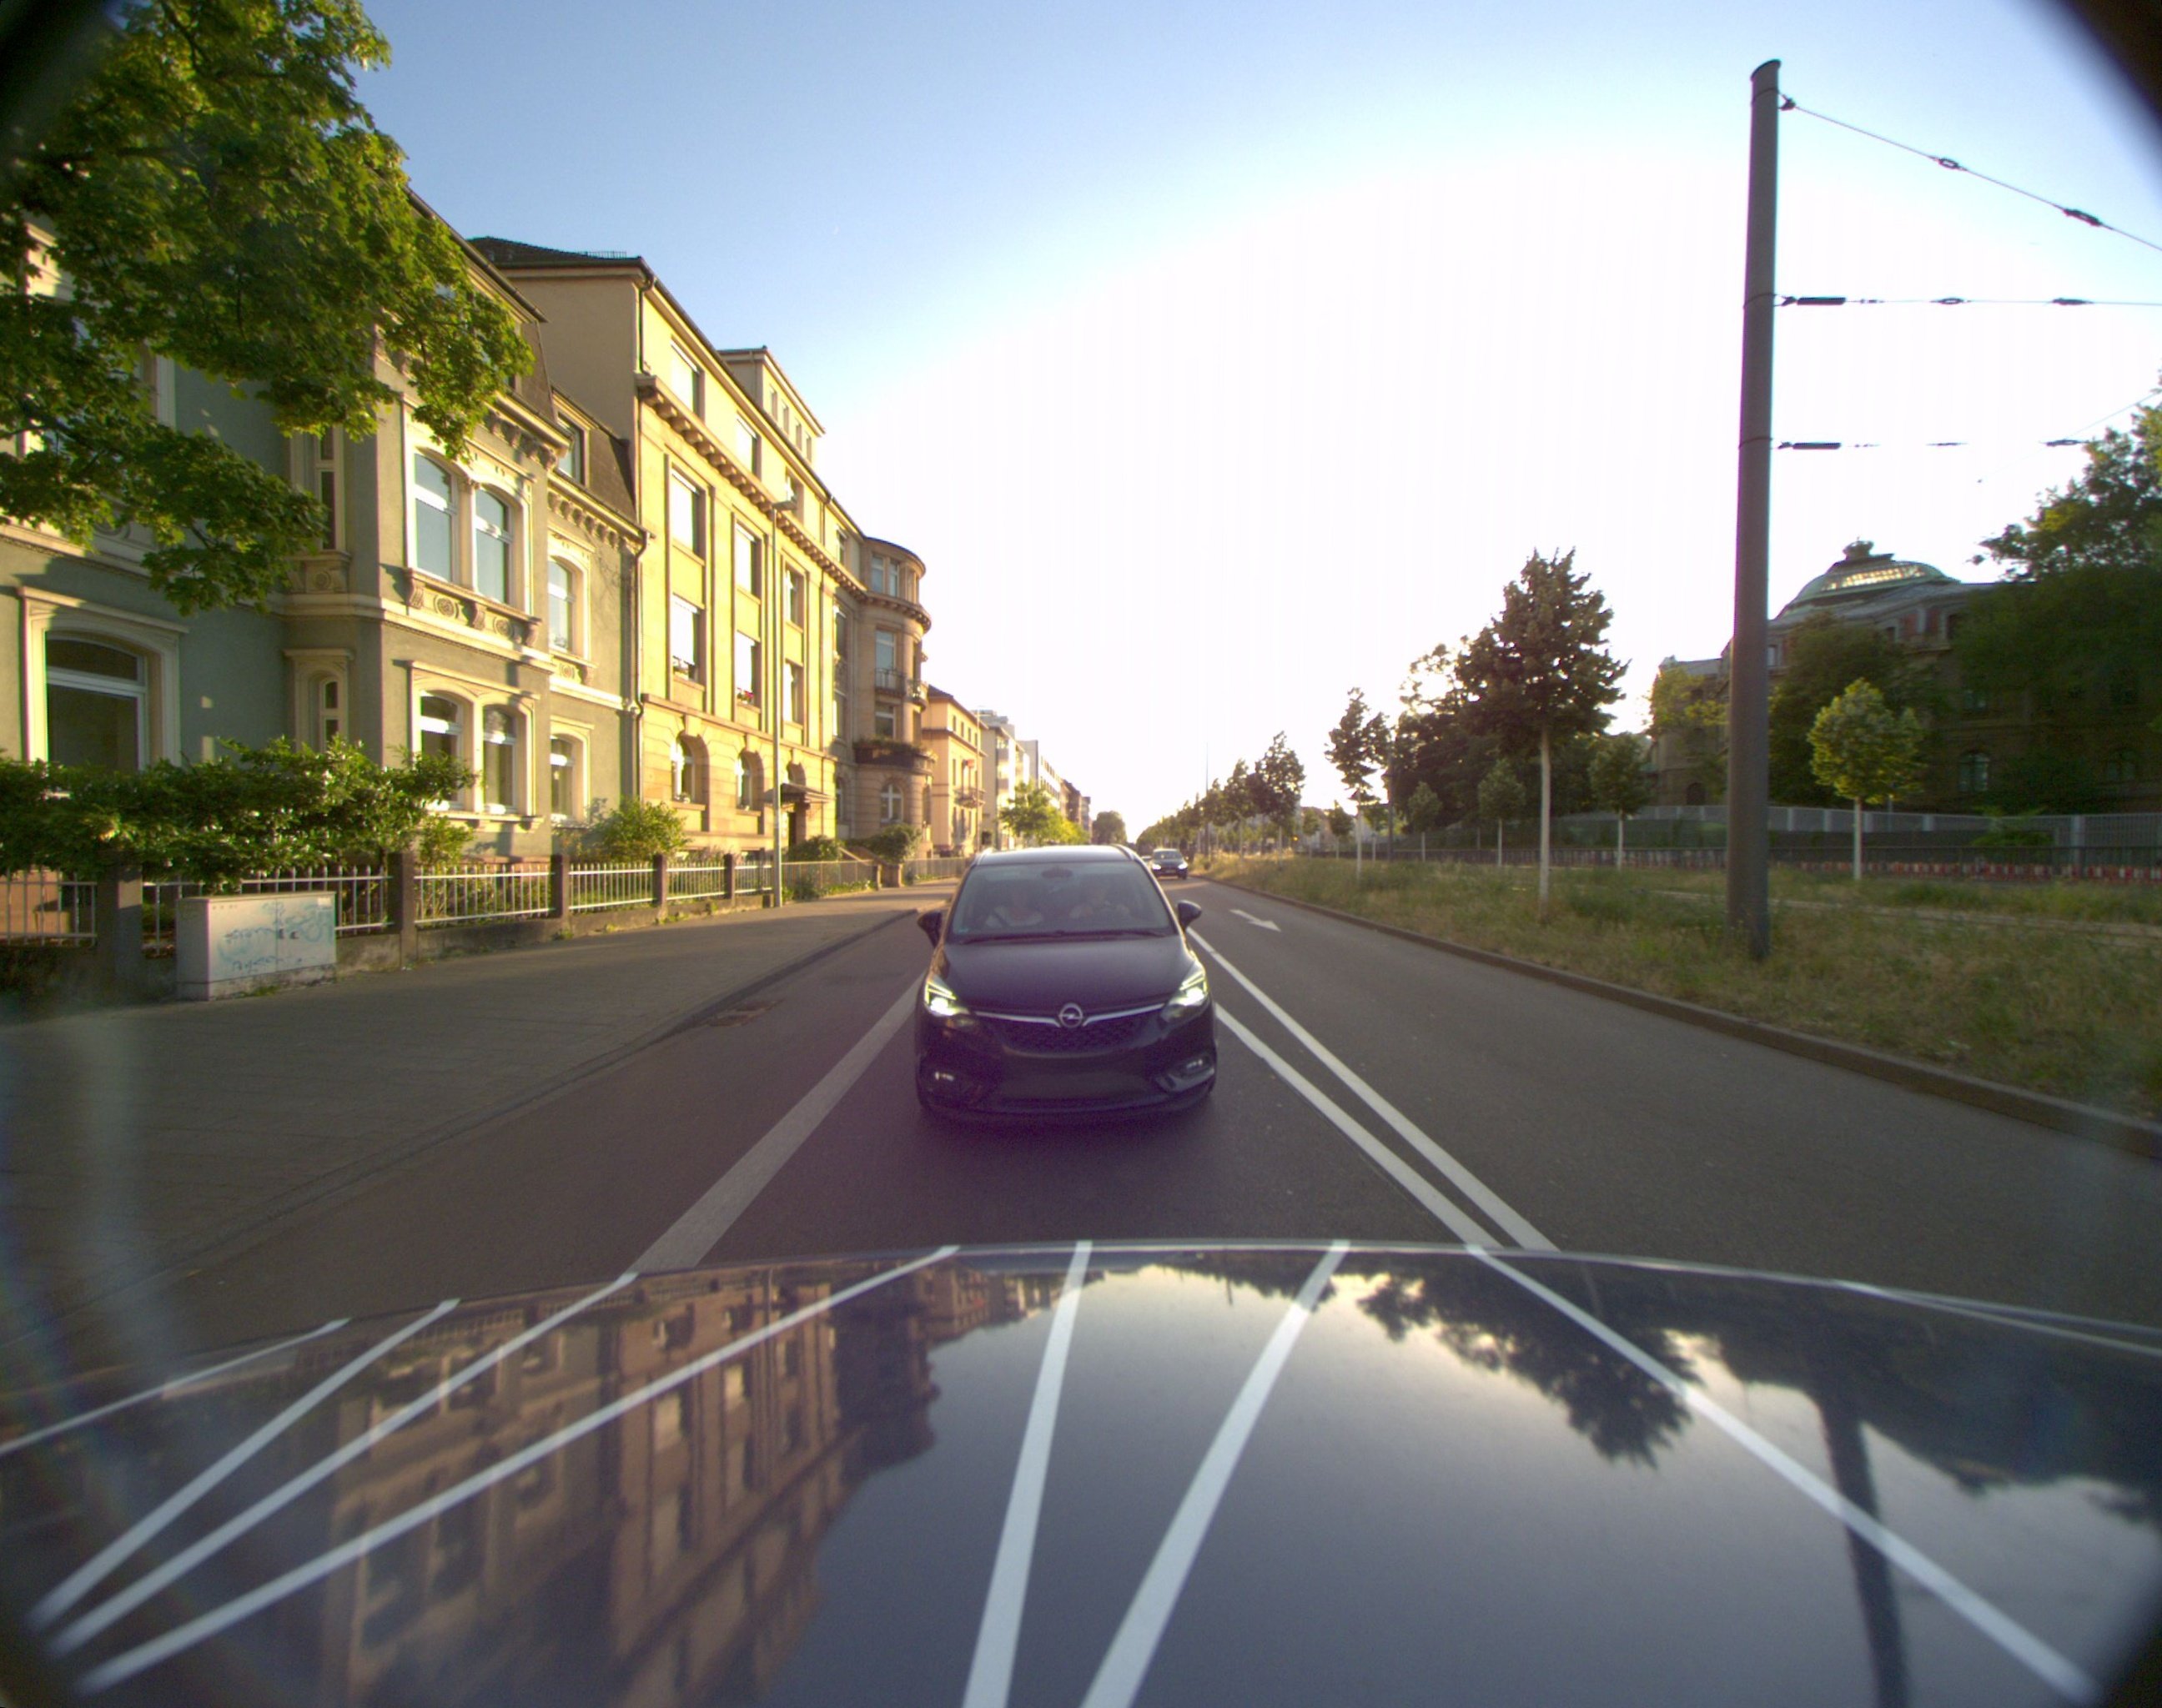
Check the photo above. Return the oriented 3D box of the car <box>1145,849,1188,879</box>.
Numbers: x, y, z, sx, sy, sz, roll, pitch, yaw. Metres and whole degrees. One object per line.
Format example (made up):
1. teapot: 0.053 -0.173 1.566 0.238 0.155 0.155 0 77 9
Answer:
1. car: 4.393 0.503 39.607 1.859 1.425 4.844 -2 -1 3

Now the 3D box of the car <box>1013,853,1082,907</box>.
1. car: -0.944 0.736 23.195 1.859 1.425 4.843 -2 -1 -1

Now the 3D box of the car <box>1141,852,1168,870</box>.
1. car: 6.220 0.571 64.729 1.859 1.425 4.843 -2 -1 2

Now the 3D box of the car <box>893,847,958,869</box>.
1. car: -11.014 0.247 53.936 4.096 1.472 1.938 -1 1 3

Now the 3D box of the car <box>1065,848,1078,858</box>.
1. car: -1.437 -0.189 121.489 1.937 1.472 4.100 -1 0 1

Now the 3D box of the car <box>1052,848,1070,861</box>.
1. car: -2.404 0.022 91.976 1.937 1.472 4.100 -1 0 1

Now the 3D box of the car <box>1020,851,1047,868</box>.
1. car: -3.856 0.435 62.863 1.882 1.394 4.100 -1 0 1

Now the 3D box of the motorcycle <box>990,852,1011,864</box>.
1. motorcycle: -7.467 0.368 70.264 1.848 1.090 0.576 -1 1 8

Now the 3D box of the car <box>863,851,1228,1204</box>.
1. car: -0.296 0.838 6.160 1.771 1.649 4.850 -1 1 -3
